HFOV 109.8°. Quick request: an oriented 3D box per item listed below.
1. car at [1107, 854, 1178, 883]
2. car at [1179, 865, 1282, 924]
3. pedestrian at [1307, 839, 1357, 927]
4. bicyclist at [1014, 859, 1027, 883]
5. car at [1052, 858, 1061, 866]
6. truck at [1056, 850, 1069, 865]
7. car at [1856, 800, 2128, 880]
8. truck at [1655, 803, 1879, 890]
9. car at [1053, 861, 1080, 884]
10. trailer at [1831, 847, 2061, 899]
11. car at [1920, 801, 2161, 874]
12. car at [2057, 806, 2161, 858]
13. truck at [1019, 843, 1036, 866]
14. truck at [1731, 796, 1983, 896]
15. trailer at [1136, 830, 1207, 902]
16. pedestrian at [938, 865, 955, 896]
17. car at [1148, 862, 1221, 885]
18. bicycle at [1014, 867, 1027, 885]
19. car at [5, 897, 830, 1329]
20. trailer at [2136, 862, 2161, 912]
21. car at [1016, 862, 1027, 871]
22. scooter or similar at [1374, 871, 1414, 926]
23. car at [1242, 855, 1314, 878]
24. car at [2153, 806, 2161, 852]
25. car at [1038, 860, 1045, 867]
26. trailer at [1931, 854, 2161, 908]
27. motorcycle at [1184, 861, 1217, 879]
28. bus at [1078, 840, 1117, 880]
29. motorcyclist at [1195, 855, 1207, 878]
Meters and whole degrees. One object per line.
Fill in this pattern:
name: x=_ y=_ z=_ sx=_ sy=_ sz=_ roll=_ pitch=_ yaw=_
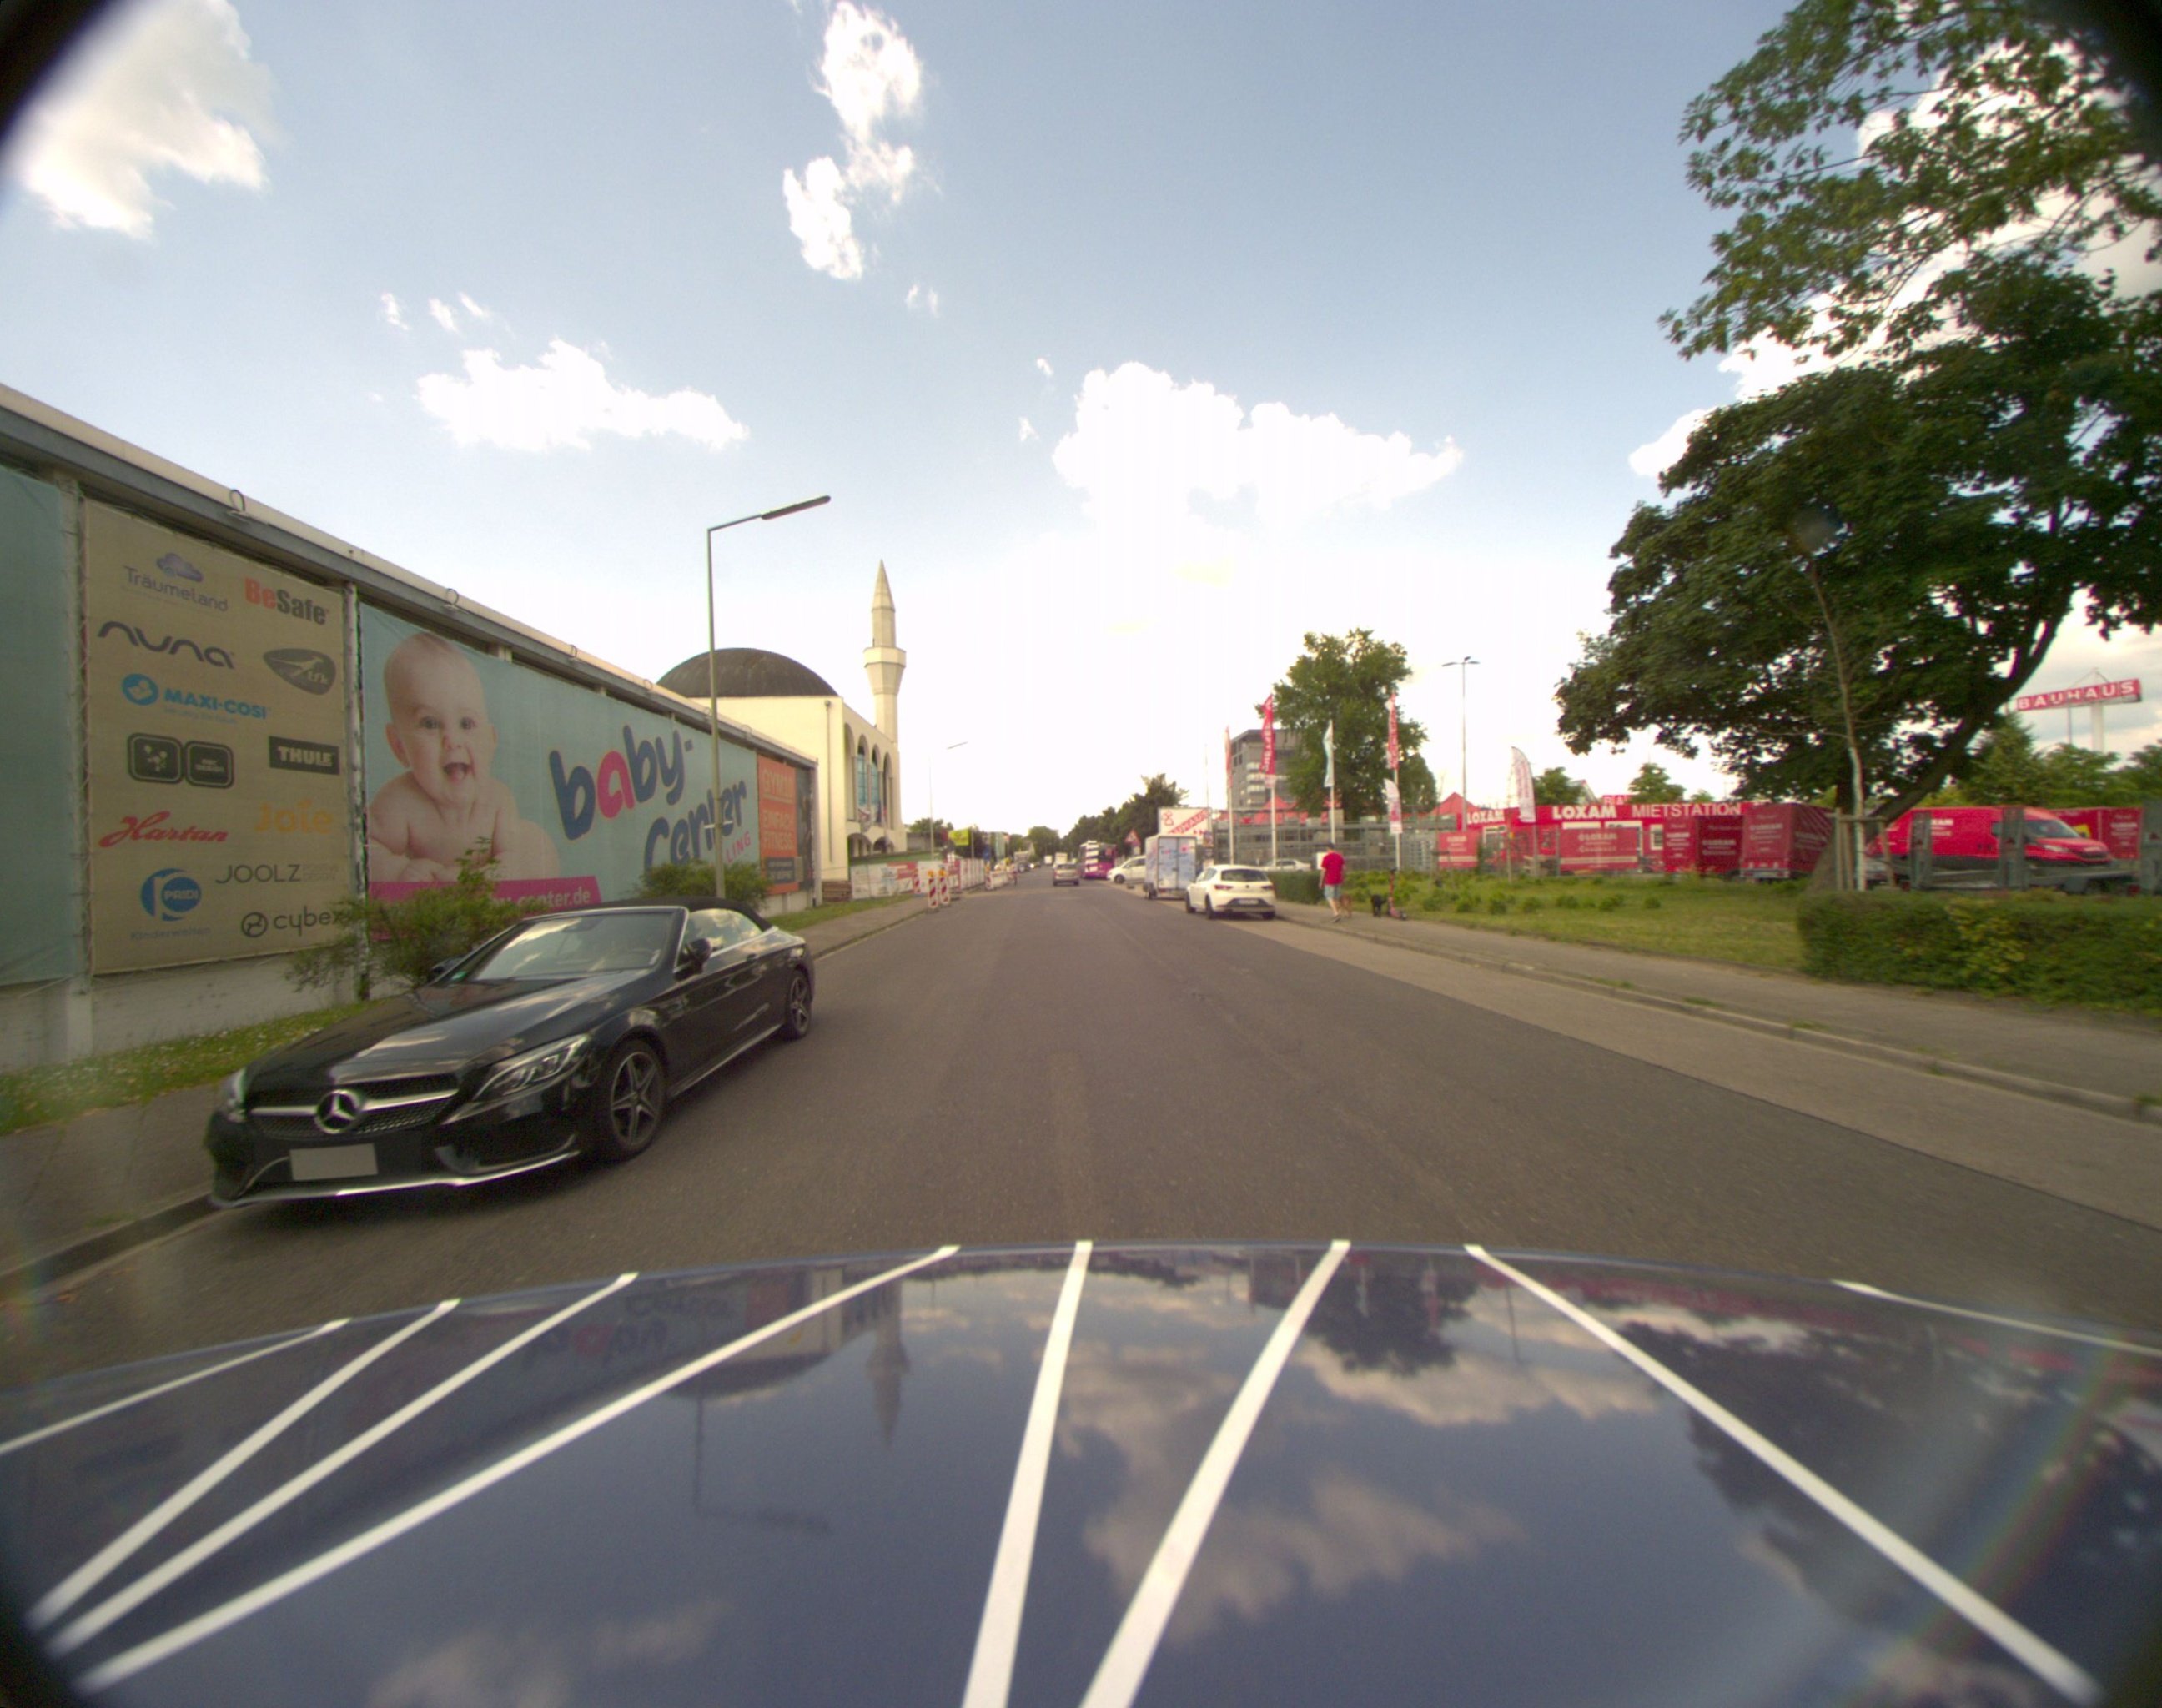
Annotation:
car: x=4.481 y=1.022 z=55.587 sx=5.012 sy=1.938 sz=1.992 roll=-2 pitch=0 yaw=3
car: x=4.075 y=1.063 z=21.394 sx=1.770 sy=1.470 sz=4.234 roll=1 pitch=0 yaw=-4
pedestrian: x=5.939 y=0.677 z=18.020 sx=0.811 sy=2.002 sz=0.885 roll=-2 pitch=1 yaw=-3
bicyclist: x=-4.508 y=1.255 z=56.555 sx=0.809 sy=1.782 sz=1.206 roll=-4 pitch=1 yaw=-4
car: x=-4.797 y=1.542 z=149.105 sx=1.688 sy=1.461 sz=3.611 roll=0 pitch=0 yaw=-4
truck: x=-4.447 y=0.807 z=183.219 sx=2.755 sy=3.701 sz=7.169 roll=0 pitch=0 yaw=-4
car: x=33.364 y=-0.532 z=28.305 sx=2.272 sy=2.579 sz=6.435 roll=-2 pitch=2 yaw=-2
truck: x=22.417 y=-0.261 z=24.956 sx=5.770 sy=2.579 sz=1.814 roll=-2 pitch=2 yaw=-1
car: x=-1.001 y=1.204 z=50.248 sx=1.595 sy=1.456 sz=3.760 roll=0 pitch=0 yaw=-4
trailer: x=21.930 y=0.448 z=19.357 sx=4.246 sy=1.114 sz=1.671 roll=-2 pitch=2 yaw=-5
car: x=37.822 y=-0.676 z=30.319 sx=2.272 sy=2.579 sz=5.720 roll=-2 pitch=2 yaw=-2
car: x=51.624 y=-1.075 z=36.000 sx=2.272 sy=2.402 sz=6.434 roll=-2 pitch=2 yaw=-3
truck: x=-10.056 y=0.167 z=143.869 sx=2.786 sy=4.092 sz=8.277 roll=-4 pitch=0 yaw=-3
truck: x=22.073 y=-0.241 z=21.745 sx=5.563 sy=2.579 sz=1.778 roll=-2 pitch=2 yaw=-2
trailer: x=3.712 y=0.488 z=31.919 sx=2.145 sy=2.766 sz=4.702 roll=0 pitch=0 yaw=-3
pedestrian: x=-6.925 y=1.372 z=39.090 sx=0.683 sy=1.525 sz=1.130 roll=-2 pitch=1 yaw=-3
car: x=6.878 y=1.271 z=50.484 sx=4.381 sy=1.369 sz=1.927 roll=-2 pitch=0 yaw=-14
bicycle: x=-4.492 y=1.617 z=56.560 sx=0.800 sy=1.173 sz=2.626 roll=-3 pitch=0 yaw=-4
car: x=-3.444 y=1.179 z=5.388 sx=1.813 sy=1.382 sz=4.587 roll=-4 pitch=0 yaw=-2
trailer: x=22.200 y=0.576 z=13.568 sx=4.246 sy=0.907 sz=2.022 roll=-2 pitch=2 yaw=-5
car: x=-10.133 y=2.110 z=129.890 sx=1.666 sy=1.332 sz=3.984 roll=-5 pitch=0 yaw=-4
scooter or similar: x=7.269 y=1.018 z=17.700 sx=0.518 sy=1.186 sz=1.280 roll=-2 pitch=0 yaw=8
car: x=14.411 y=0.907 z=55.722 sx=4.696 sy=1.445 sz=1.954 roll=-2 pitch=0 yaw=-2
car: x=57.746 y=-1.283 z=36.851 sx=2.272 sy=2.402 sz=6.434 roll=-2 pitch=2 yaw=-3
car: x=-10.781 y=2.552 z=205.041 sx=1.797 sy=1.881 sz=3.999 roll=-2 pitch=0 yaw=-4
trailer: x=22.177 y=0.562 z=16.955 sx=4.246 sy=0.907 sz=2.158 roll=-2 pitch=2 yaw=-5
motorcycle: x=8.717 y=1.165 z=55.478 sx=2.227 sy=1.206 sz=0.994 roll=-1 pitch=0 yaw=-2
bus: x=1.388 y=0.555 z=71.503 sx=2.670 sy=3.402 sz=13.215 roll=2 pitch=0 yaw=-3
motorcyclist: x=8.753 y=0.913 z=55.483 sx=0.676 sy=1.713 sz=0.994 roll=-1 pitch=0 yaw=-2
